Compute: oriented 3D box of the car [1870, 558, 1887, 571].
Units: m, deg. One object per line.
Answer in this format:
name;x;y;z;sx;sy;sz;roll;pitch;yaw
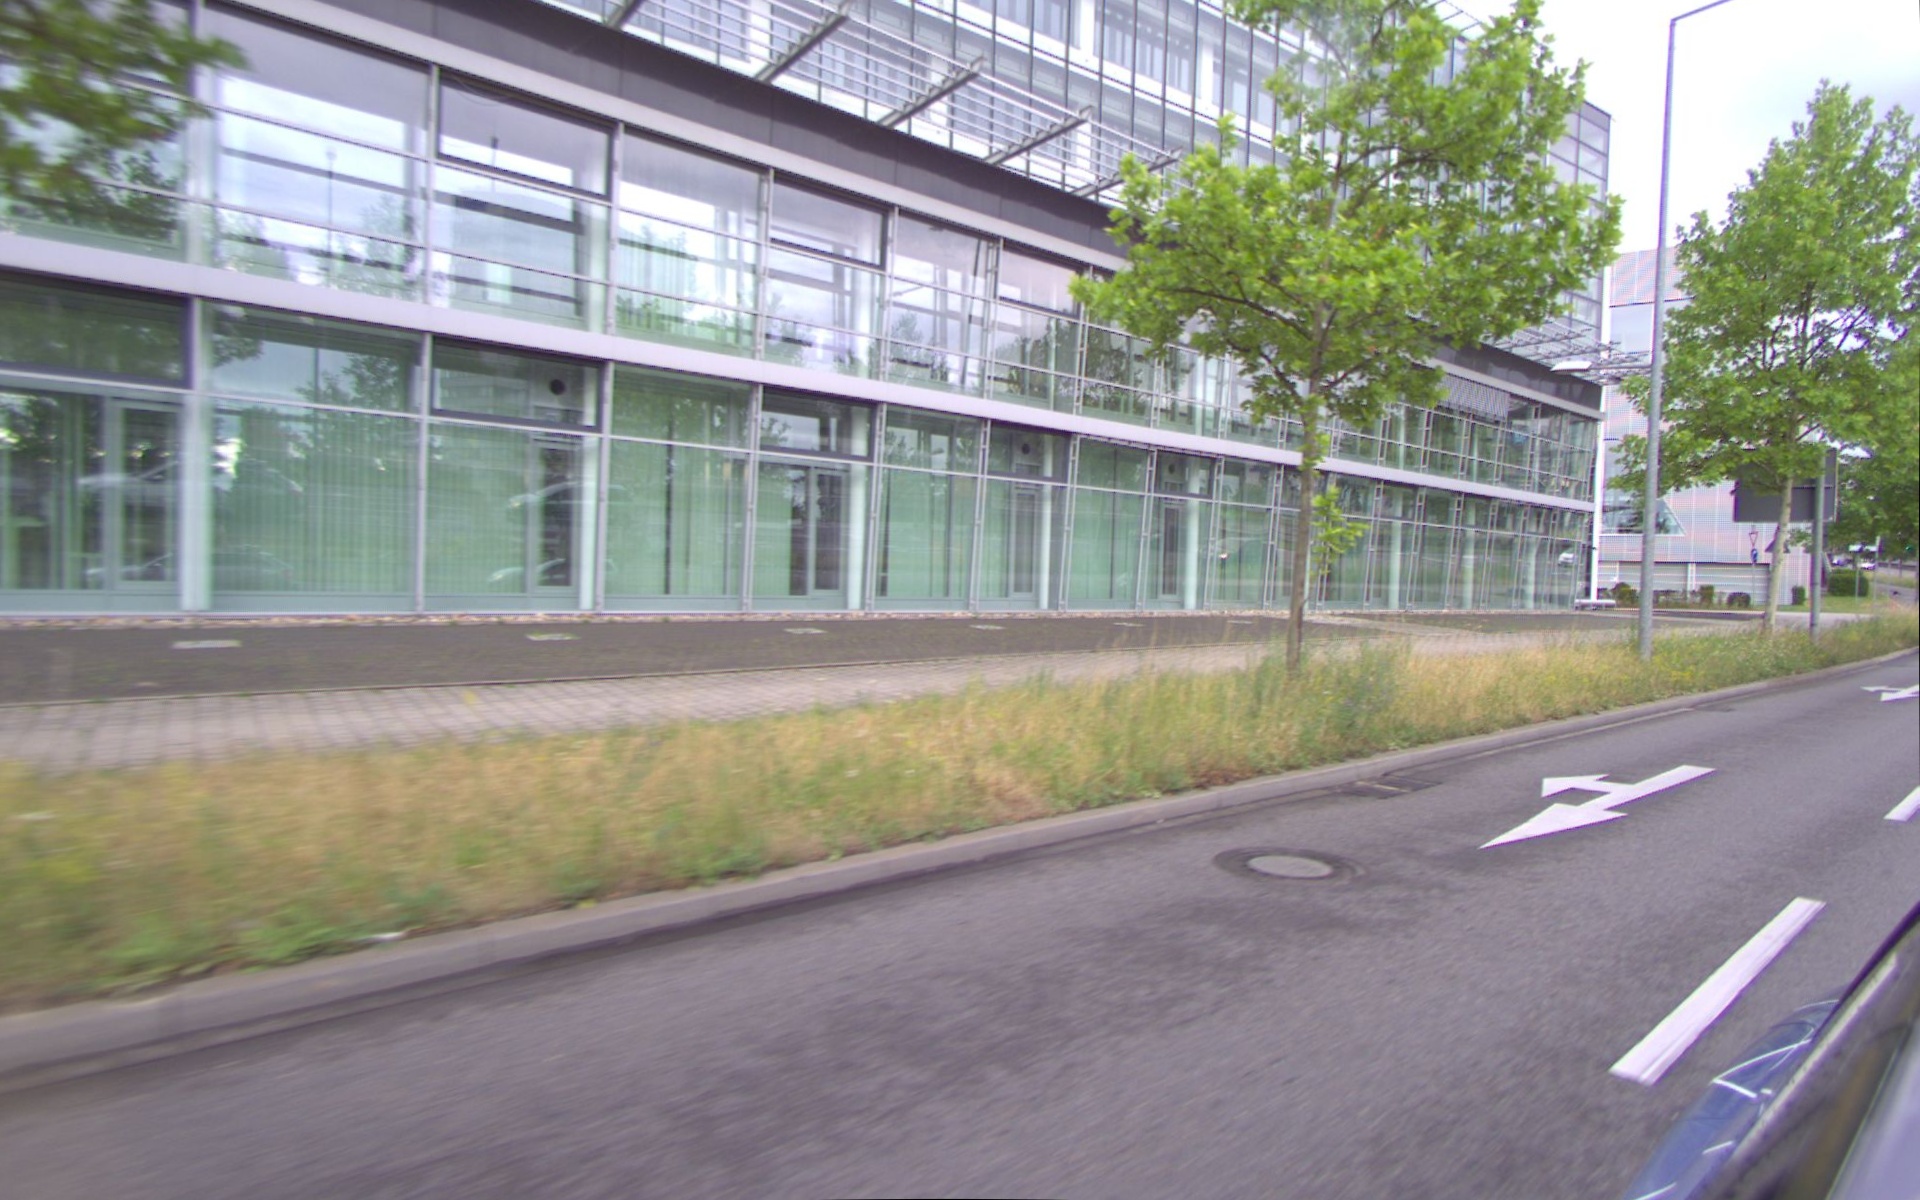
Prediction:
car;131.144;-5.065;144.473;1.824;1.732;4.089;0;1;43
